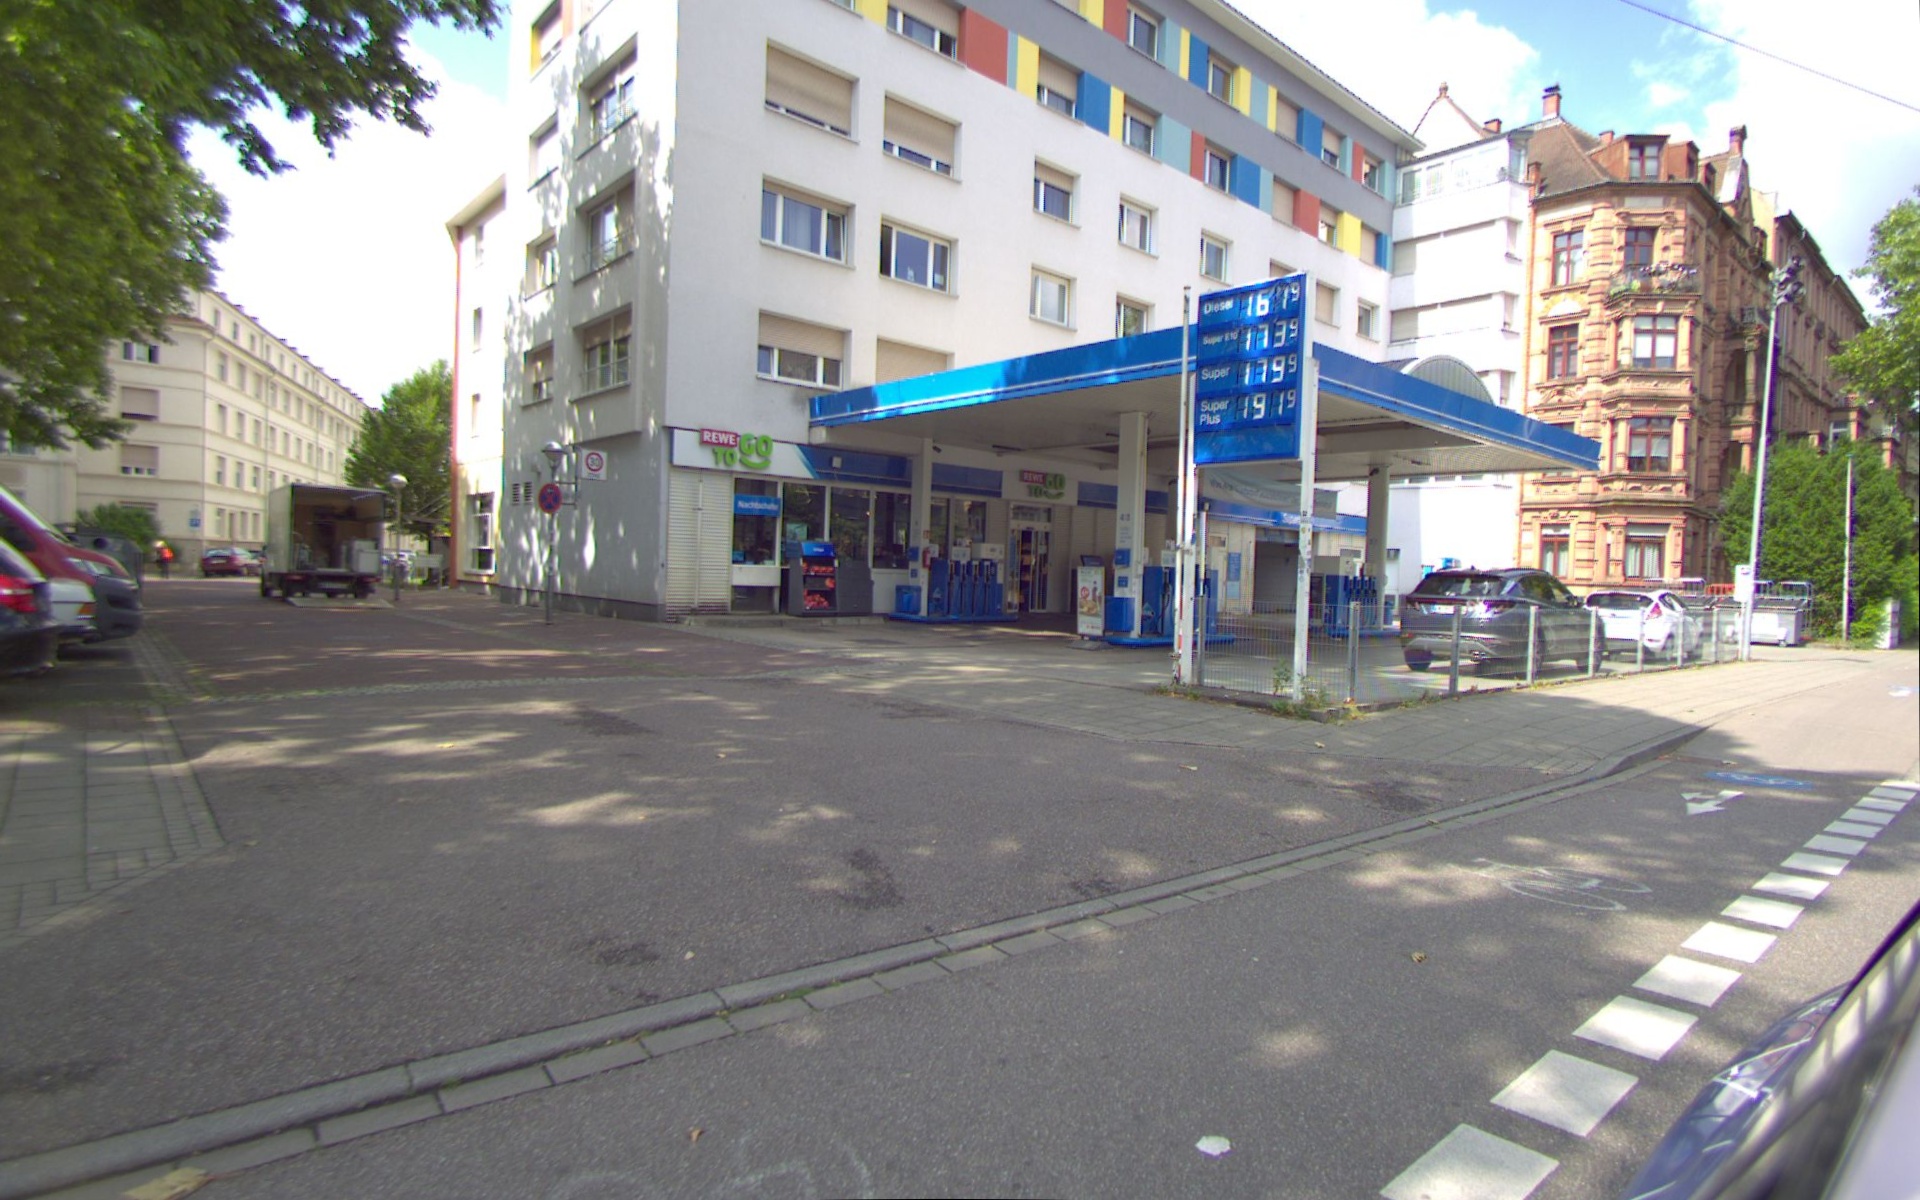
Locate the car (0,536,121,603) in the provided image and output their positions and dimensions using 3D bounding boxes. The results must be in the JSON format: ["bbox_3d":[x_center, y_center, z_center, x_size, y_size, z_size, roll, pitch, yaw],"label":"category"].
[{"bbox_3d":[-22.187,-0.714,24.094,3.321,1.527,1.600,1,1,-44],"label":"car"}]

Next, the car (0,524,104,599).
[{"bbox_3d":[-24.486,-0.987,25.800,3.980,1.843,1.824,1,1,-44],"label":"car"}]

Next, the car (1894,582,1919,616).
[{"bbox_3d":[60.284,0.075,61.945,4.398,1.962,1.953,7,5,42],"label":"car"}]

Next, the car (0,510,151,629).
[{"bbox_3d":[-15.398,-0.487,15.572,4.568,1.776,2.011,1,1,-40],"label":"car"}]

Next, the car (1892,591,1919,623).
[{"bbox_3d":[56.684,0.419,58.015,4.717,1.804,1.975,2,1,42],"label":"car"}]

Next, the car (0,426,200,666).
[{"bbox_3d":[-12.048,-0.639,11.044,5.911,2.614,2.117,1,2,-40],"label":"car"}]

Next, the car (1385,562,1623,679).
[{"bbox_3d":[8.785,0.272,16.177,4.501,1.622,1.810,0,1,-40],"label":"car"}]

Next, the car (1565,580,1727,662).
[{"bbox_3d":[14.051,0.377,20.659,3.932,1.473,1.809,0,1,-42],"label":"car"}]

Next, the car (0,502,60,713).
[{"bbox_3d":[-8.556,0.007,6.610,3.973,1.488,1.651,0,2,-42],"label":"car"}]

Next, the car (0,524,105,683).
[{"bbox_3d":[-10.195,-0.004,8.902,3.977,1.447,1.650,0,2,-45],"label":"car"}]

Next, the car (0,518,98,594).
[{"bbox_3d":[-26.054,-1.210,27.744,3.581,2.013,1.824,1,1,-44],"label":"car"}]
